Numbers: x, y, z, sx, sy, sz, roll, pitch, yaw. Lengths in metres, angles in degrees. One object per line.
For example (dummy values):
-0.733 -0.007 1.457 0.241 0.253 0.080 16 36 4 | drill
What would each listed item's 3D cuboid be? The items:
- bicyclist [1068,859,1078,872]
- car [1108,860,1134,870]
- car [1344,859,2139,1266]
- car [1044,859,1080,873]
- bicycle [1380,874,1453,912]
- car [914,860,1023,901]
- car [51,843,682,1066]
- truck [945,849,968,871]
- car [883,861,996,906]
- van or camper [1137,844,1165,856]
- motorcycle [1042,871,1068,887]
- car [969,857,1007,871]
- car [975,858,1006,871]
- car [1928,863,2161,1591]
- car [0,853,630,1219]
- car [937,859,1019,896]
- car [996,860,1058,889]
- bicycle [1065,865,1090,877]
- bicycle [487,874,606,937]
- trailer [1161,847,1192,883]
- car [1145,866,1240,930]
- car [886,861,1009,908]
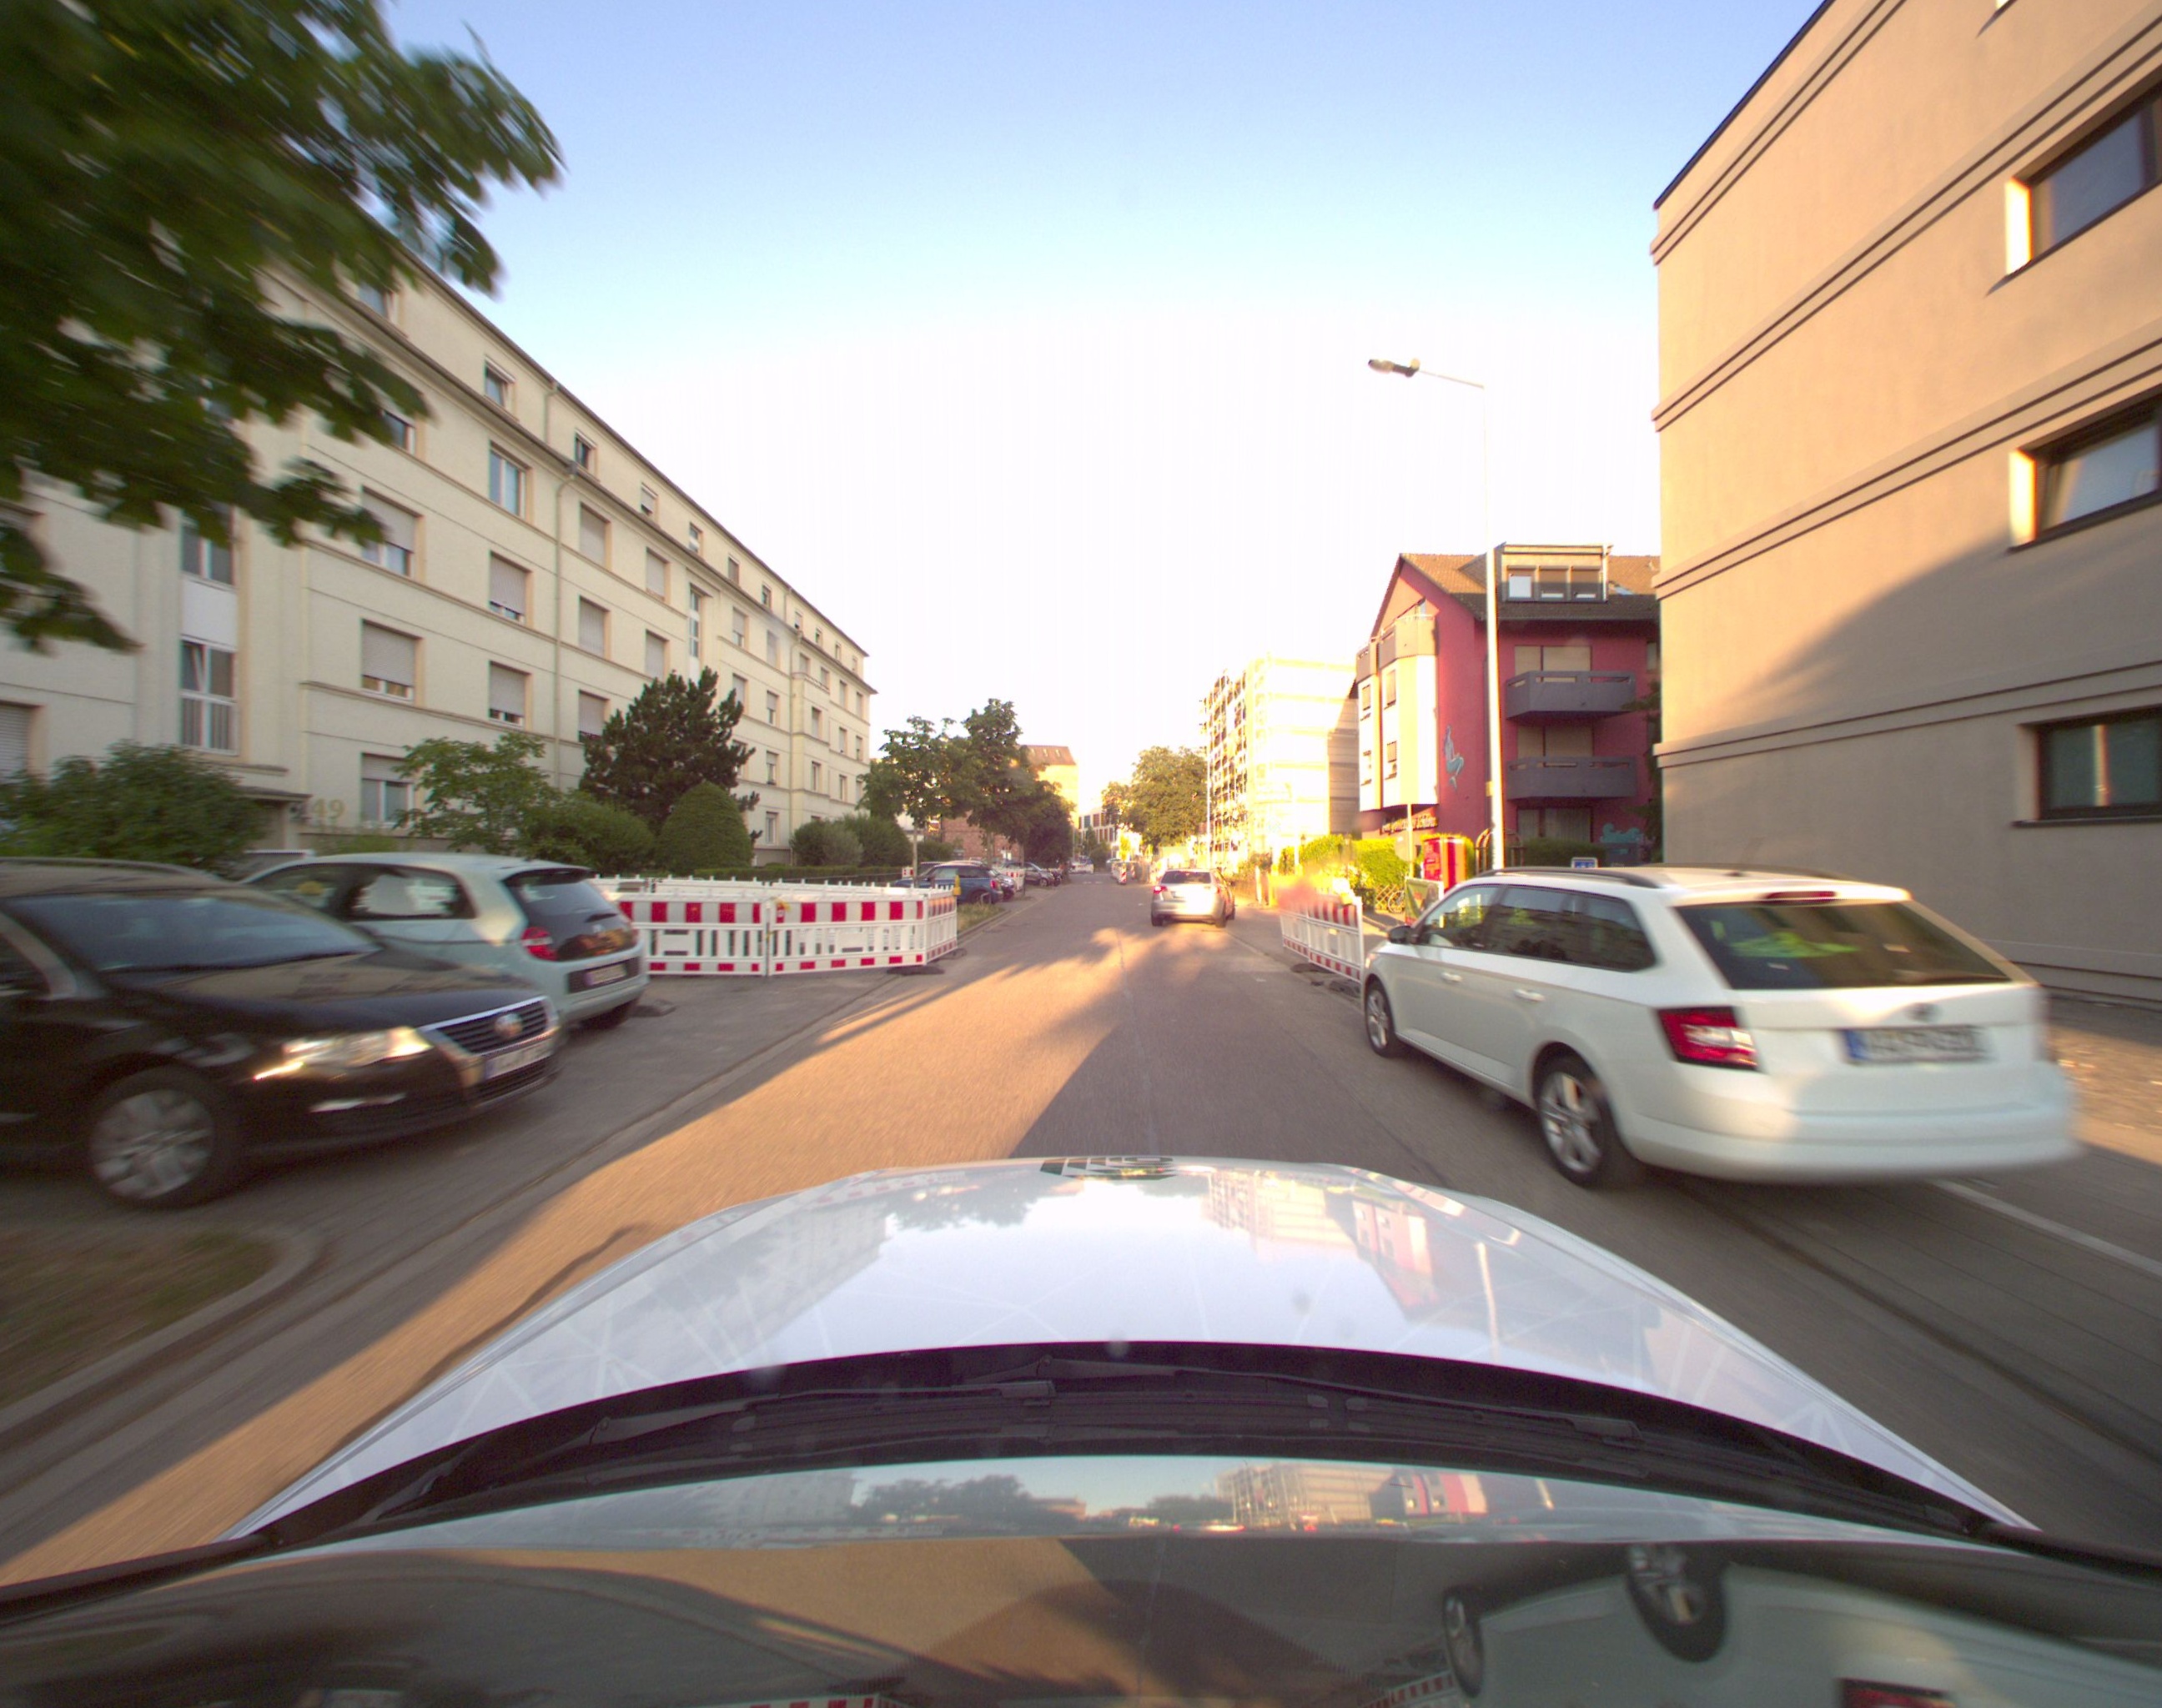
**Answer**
-0.891 1.318 91.725 1.059 1.458 0.790 0 -1 -6 | bicyclist
6.421 1.738 130.532 3.753 1.603 1.675 0 -1 -20 | car
3.067 0.770 4.976 1.609 1.469 3.995 0 0 -1 | car
-2.470 1.478 103.181 4.280 1.708 1.692 0 0 -18 | car
9.605 1.105 23.371 1.883 1.069 0.447 0 -1 7 | bicycle
-4.430 1.038 32.407 3.961 1.489 1.729 1 -2 3 | car
-5.591 0.714 6.716 3.684 1.484 1.729 2 0 3 | car
-15.508 0.746 101.200 2.338 2.617 4.947 0 0 -15 | truck
-5.043 1.051 29.363 3.662 1.484 1.729 1 -2 3 | car
12.687 -0.707 147.670 4.979 2.240 1.675 0 -1 -20 | van or camper
-1.693 1.643 53.849 0.532 1.021 2.225 2 -1 30 | motorcycle
-11.772 1.241 102.862 4.591 1.638 1.567 0 0 -15 | car
-11.165 1.261 100.721 3.638 1.504 1.629 0 0 -15 | car
3.069 0.748 0.185 1.791 1.469 3.843 0 0 0 | car
-5.182 0.779 4.348 4.493 1.484 1.727 2 0 -1 | car
-4.589 1.075 36.784 3.465 1.566 1.726 1 -2 -2 | car
-3.336 1.271 50.404 3.610 1.557 1.693 3 -1 1 | car
-0.416 1.913 91.787 2.721 1.218 0.709 0 -1 -7 | bicycle
-10.720 1.021 16.371 2.021 1.186 0.541 1 -1 2 | bicycle
6.961 0.768 59.864 1.986 2.540 4.188 0 0 2 | trailer
2.891 1.008 20.429 1.762 1.397 4.125 0 0 16 | car
-4.354 0.990 26.942 3.662 1.445 1.729 1 -2 3 | car
